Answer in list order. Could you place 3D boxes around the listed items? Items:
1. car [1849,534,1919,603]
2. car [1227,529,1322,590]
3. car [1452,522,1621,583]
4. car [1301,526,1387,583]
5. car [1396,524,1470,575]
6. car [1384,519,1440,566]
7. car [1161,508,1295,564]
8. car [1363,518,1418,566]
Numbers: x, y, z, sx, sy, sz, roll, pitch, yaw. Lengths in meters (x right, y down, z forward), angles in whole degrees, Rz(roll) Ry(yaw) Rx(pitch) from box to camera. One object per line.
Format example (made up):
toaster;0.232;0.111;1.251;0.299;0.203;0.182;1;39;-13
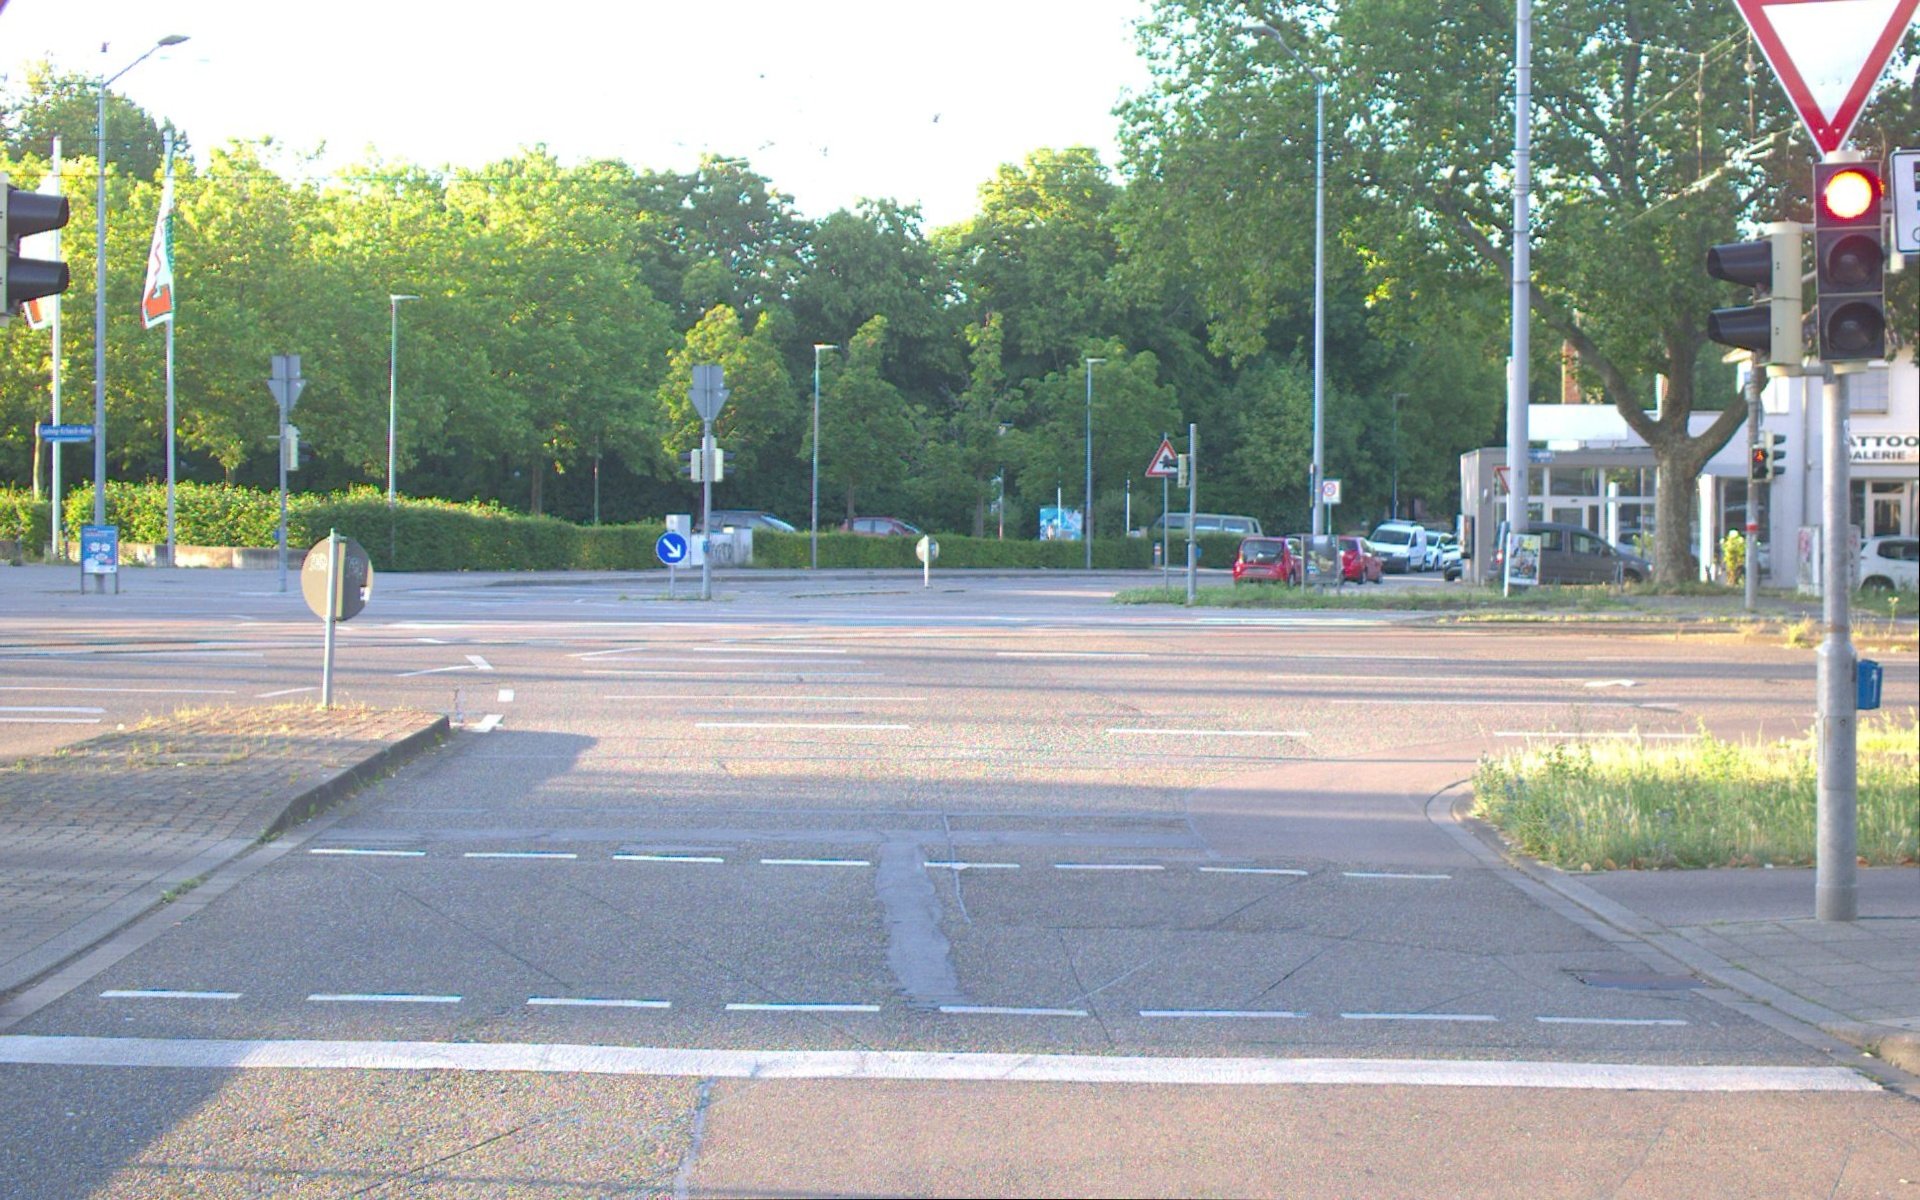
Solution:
car;20.703;-0.649;72.257;3.741;1.435;1.663;1;0;9
car;8.779;-1.112;95.676;1.995;1.656;3.997;1;0;15
car;14.914;-1.228;89.156;4.220;1.547;1.999;1;0;7
car;11.560;-1.352;103.362;1.995;1.656;3.997;1;0;15
car;15.926;-1.693;115.586;1.995;1.656;3.997;1;0;15
car;17.888;-2.272;136.071;1.864;1.788;3.998;1;0;12
car;9.788;-2.338;125.863;4.774;1.999;2.000;0;0;2
car;16.433;-2.209;131.177;1.864;1.788;3.998;1;0;10
